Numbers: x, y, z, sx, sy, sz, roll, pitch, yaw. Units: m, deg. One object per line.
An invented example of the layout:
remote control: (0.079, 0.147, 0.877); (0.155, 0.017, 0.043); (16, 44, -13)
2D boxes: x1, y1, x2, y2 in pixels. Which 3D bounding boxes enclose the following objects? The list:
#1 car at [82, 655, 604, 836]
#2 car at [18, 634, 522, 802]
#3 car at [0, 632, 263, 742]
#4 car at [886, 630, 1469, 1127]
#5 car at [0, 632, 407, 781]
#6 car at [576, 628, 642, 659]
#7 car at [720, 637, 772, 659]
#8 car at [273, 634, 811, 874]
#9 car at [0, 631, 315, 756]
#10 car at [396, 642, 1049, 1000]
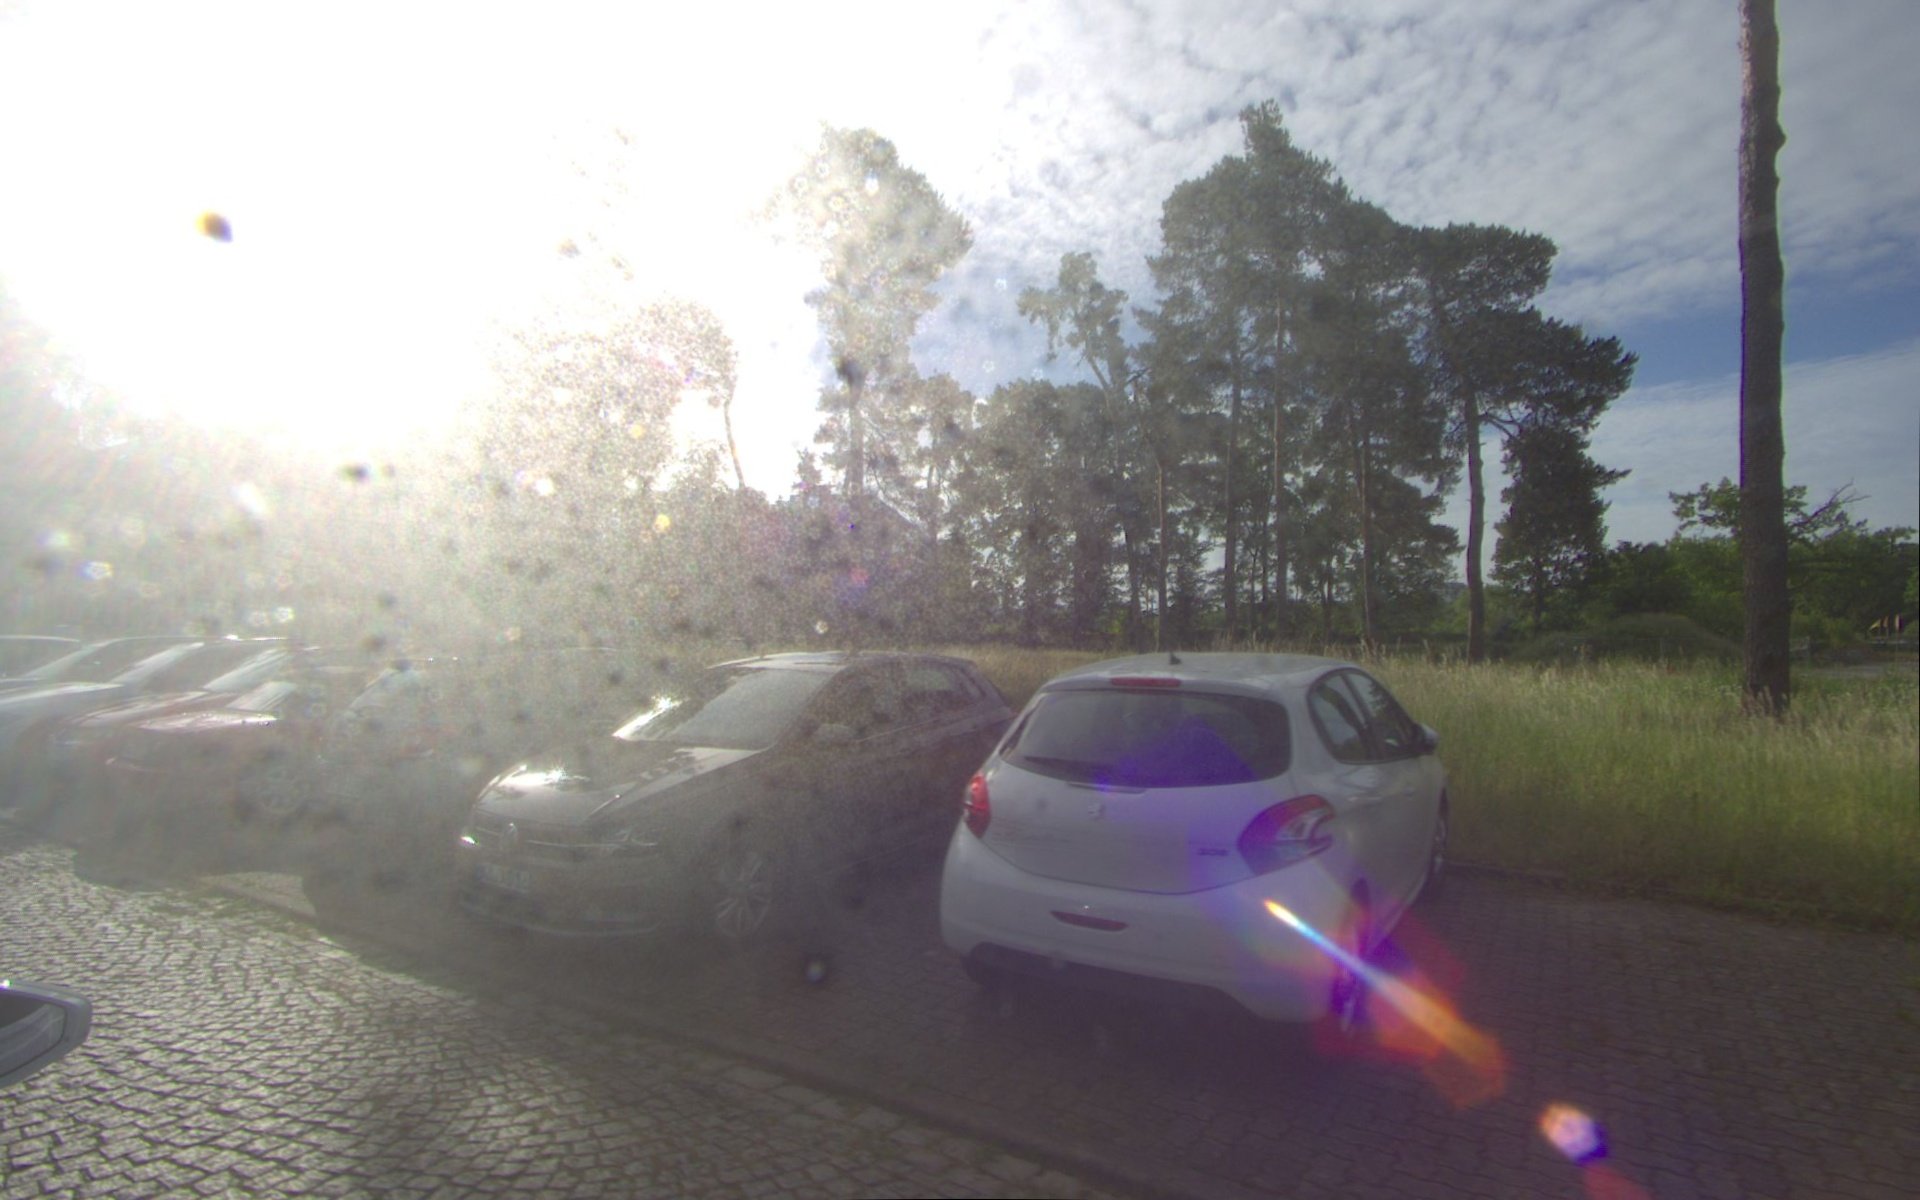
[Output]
car: (-5.599, 1.200, 9.603); (1.702, 1.277, 3.944); (-2, -2, 32)
car: (-7.367, 1.134, 11.199); (1.715, 1.492, 4.334); (-1, -2, 32)
car: (-13.679, 1.270, 15.371); (1.904, 1.524, 4.539); (-1, -2, 30)
car: (1.473, 0.950, 5.263); (1.782, 1.549, 3.868); (-2, -2, 32)
car: (-9.432, 1.147, 12.116); (1.823, 1.492, 4.500); (-1, -2, 32)
car: (-30.520, 3.802, 87.326); (2.233, 2.567, 5.149); (-1, -3, 33)
car: (-16.880, 3.828, 79.193); (1.829, 1.700, 3.929); (-1, -3, 30)
car: (-3.226, 1.057, 8.494); (1.747, 1.514, 3.944); (-2, -2, 32)
car: (-11.683, 1.189, 13.682); (1.866, 1.492, 4.505); (-1, -2, 28)
car: (-1.135, 1.028, 6.400); (1.805, 1.486, 3.944); (-2, -2, 32)
